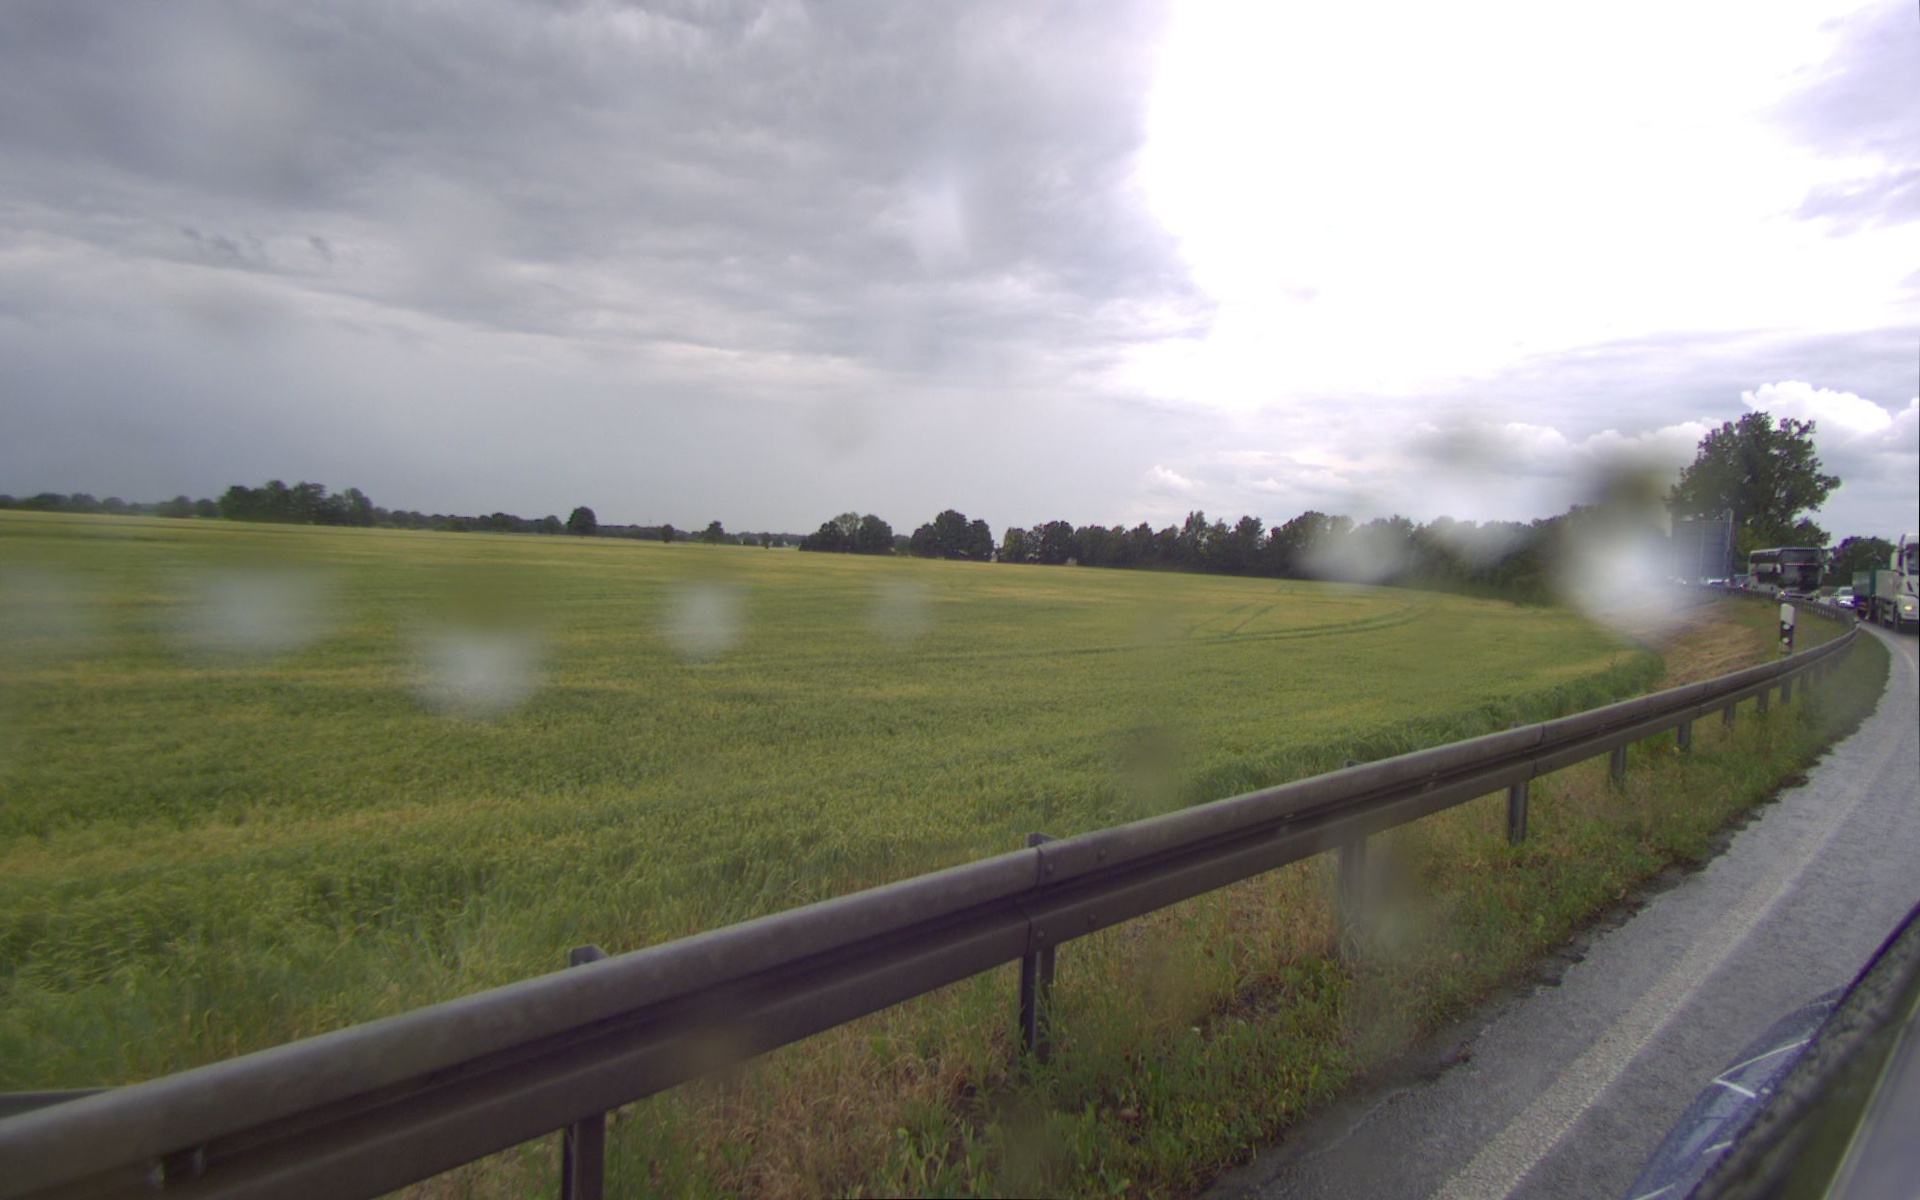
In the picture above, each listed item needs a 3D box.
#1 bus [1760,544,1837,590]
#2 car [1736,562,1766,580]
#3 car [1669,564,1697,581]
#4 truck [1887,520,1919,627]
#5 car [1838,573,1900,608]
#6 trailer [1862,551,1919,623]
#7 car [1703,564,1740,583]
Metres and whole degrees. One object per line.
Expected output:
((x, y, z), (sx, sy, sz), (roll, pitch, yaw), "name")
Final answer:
((66.272, -2.613, 80.271), (2.944, 3.353, 14.667), (0, 2, 33), "bus")
((75.314, -2.741, 96.377), (1.800, 1.597, 3.956), (0, 1, 31), "car")
((92.342, -3.507, 129.363), (1.977, 2.039, 4.201), (0, 1, 22), "car")
((35.428, -0.944, 36.155), (2.971, 3.655, 5.996), (0, 1, 39), "truck")
((51.254, -0.563, 57.158), (2.031, 1.865, 5.268), (0, 1, 36), "car")
((40.693, -0.607, 42.781), (2.970, 2.666, 15.464), (0, 1, 39), "trailer")
((82.804, -2.838, 110.106), (1.978, 2.039, 5.294), (0, 1, 23), "car")
